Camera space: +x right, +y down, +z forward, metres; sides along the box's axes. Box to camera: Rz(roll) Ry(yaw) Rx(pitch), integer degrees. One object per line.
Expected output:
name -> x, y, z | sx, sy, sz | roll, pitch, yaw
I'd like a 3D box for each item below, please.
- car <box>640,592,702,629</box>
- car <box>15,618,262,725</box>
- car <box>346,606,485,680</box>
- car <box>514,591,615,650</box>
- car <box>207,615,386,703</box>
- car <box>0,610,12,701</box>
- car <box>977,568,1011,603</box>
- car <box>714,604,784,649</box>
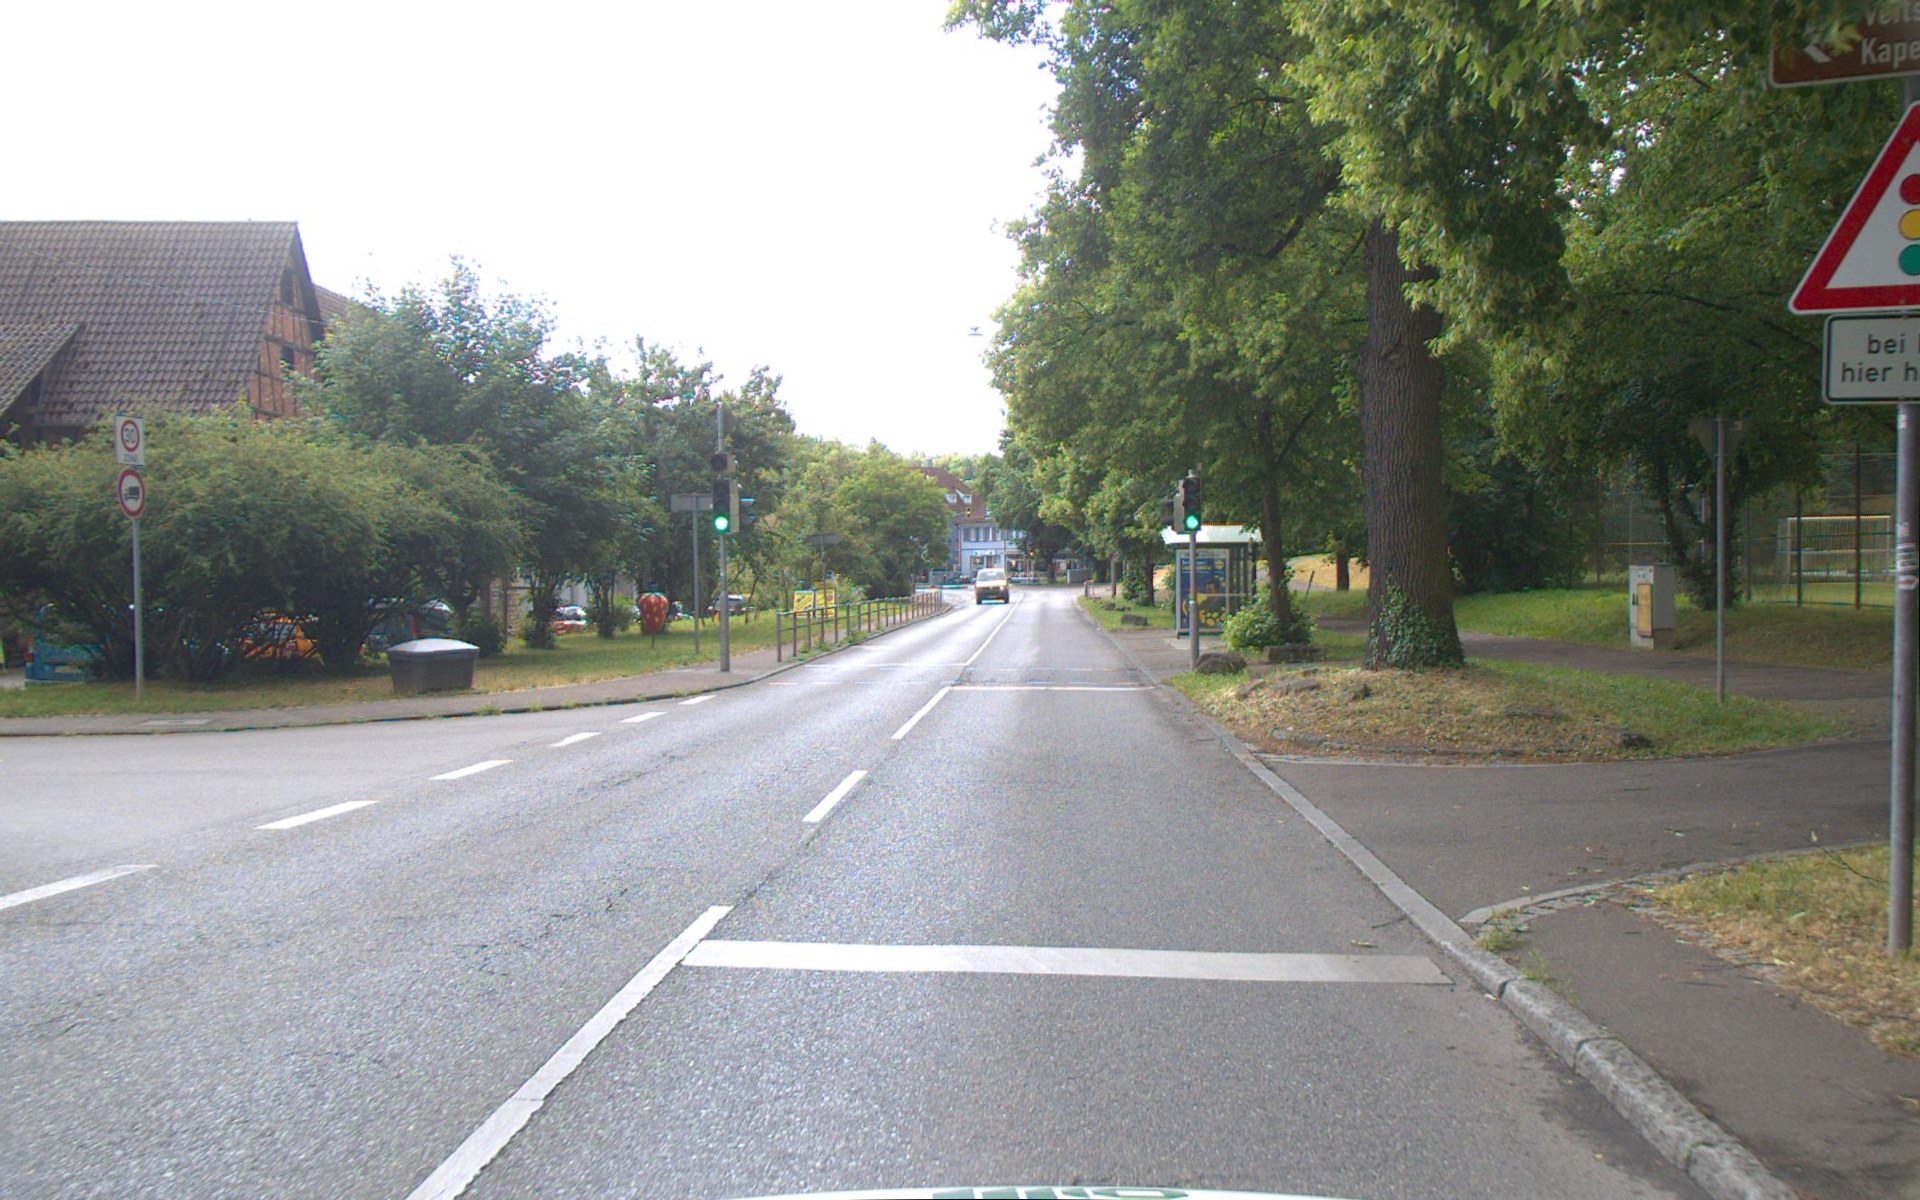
car -> -10.931, 0.380, 62.737 | 1.519, 1.300, 2.556 | -2, 0, 9
car -> -14.957, 1.251, 30.439 | 1.951, 1.646, 4.451 | -3, 0, 5
car -> -13.639, 1.041, 41.649 | 1.773, 1.646, 4.003 | -3, 0, 6
car -> -12.224, 0.591, 51.366 | 1.773, 1.646, 4.003 | -3, 0, 6
car -> -14.425, 1.243, 36.206 | 1.907, 1.646, 4.003 | -3, 0, 6
car -> -15.448, 0.904, 23.271 | 1.611, 1.368, 4.154 | -3, 1, 3
car -> 1.974, -0.826, 95.051 | 1.807, 1.964, 4.771 | -1, 0, 3
car -> -9.086, 1.125, 71.548 | 1.880, 1.724, 4.004 | -2, 0, 9
